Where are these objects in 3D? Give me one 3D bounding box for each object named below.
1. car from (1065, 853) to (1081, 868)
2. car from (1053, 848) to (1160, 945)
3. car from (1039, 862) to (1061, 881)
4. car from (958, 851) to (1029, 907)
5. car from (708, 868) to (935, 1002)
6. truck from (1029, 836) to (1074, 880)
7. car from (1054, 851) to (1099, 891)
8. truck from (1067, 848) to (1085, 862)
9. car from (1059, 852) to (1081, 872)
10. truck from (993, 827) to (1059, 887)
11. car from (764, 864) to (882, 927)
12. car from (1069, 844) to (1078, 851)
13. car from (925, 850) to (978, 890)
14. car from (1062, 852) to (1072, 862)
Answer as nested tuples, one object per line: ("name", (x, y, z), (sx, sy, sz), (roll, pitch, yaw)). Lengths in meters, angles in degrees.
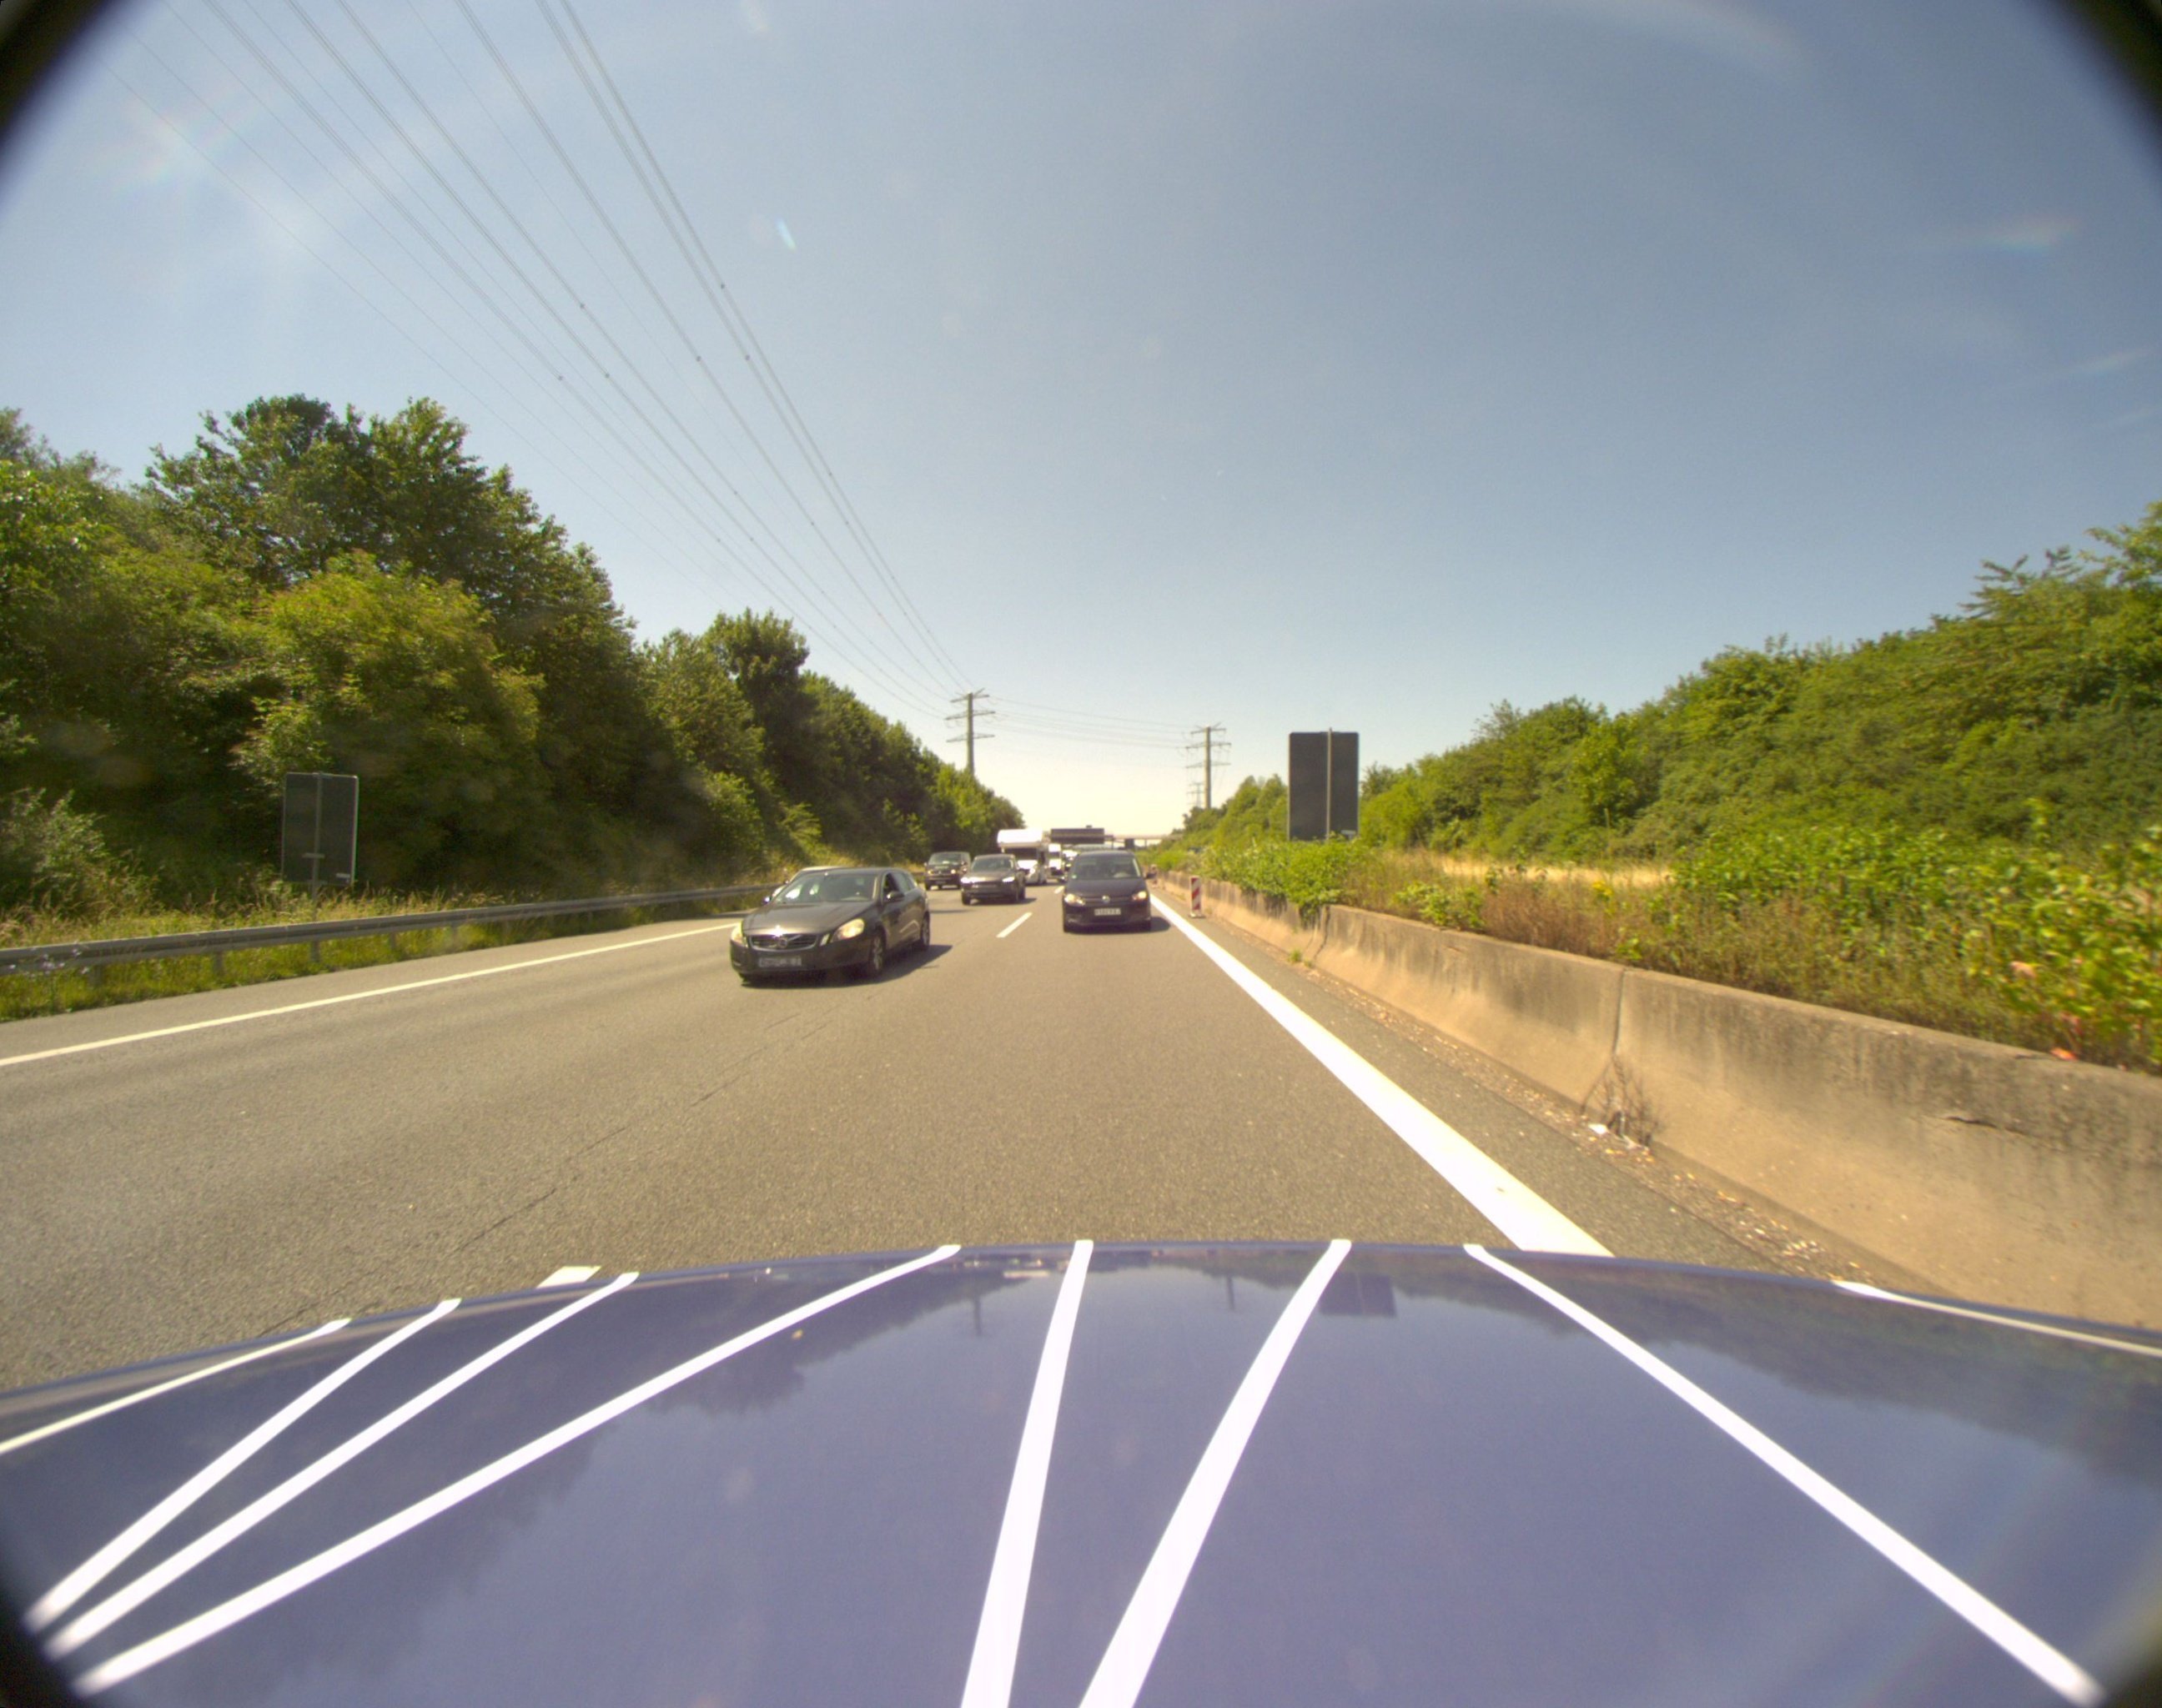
("car", (-0.972, 0.768, 92.698), (1.892, 1.693, 4.383), (-2, 1, 0))
("car", (0.487, 0.762, 16.036), (1.892, 1.693, 4.383), (-2, 1, 0))
("car", (-3.077, 1.707, 75.838), (1.892, 1.693, 4.383), (-2, 1, 0))
("car", (-2.957, 0.797, 26.600), (1.892, 1.693, 4.383), (-2, 1, 0))
("car", (-3.501, 1.004, 11.179), (1.800, 1.429, 4.230), (-2, 1, 0))
("truck", (-2.105, 0.234, 58.328), (2.514, 2.997, 9.898), (-2, 1, 3))
("car", (-0.186, 0.733, 35.398), (1.892, 1.693, 4.383), (-2, 1, 0))
("truck", (-0.804, 0.169, 125.691), (2.408, 2.203, 6.744), (-2, 1, 3))
("car", (-0.948, 0.670, 69.875), (1.892, 1.693, 4.383), (-2, 1, 0))
("truck", (-2.971, 0.090, 44.086), (2.514, 2.997, 9.898), (-2, 1, 3))
("car", (-7.010, 1.062, 21.093), (1.745, 1.461, 4.014), (-2, 0, 2))
("car", (-1.956, -1.755, 203.783), (1.998, 2.002, 4.000), (-2, 1, 2))
("car", (-6.775, 0.774, 40.176), (1.788, 1.893, 4.698), (-2, 1, 2))
("car", (-3.182, 0.635, 173.082), (1.998, 2.002, 4.000), (-2, 1, 2))
